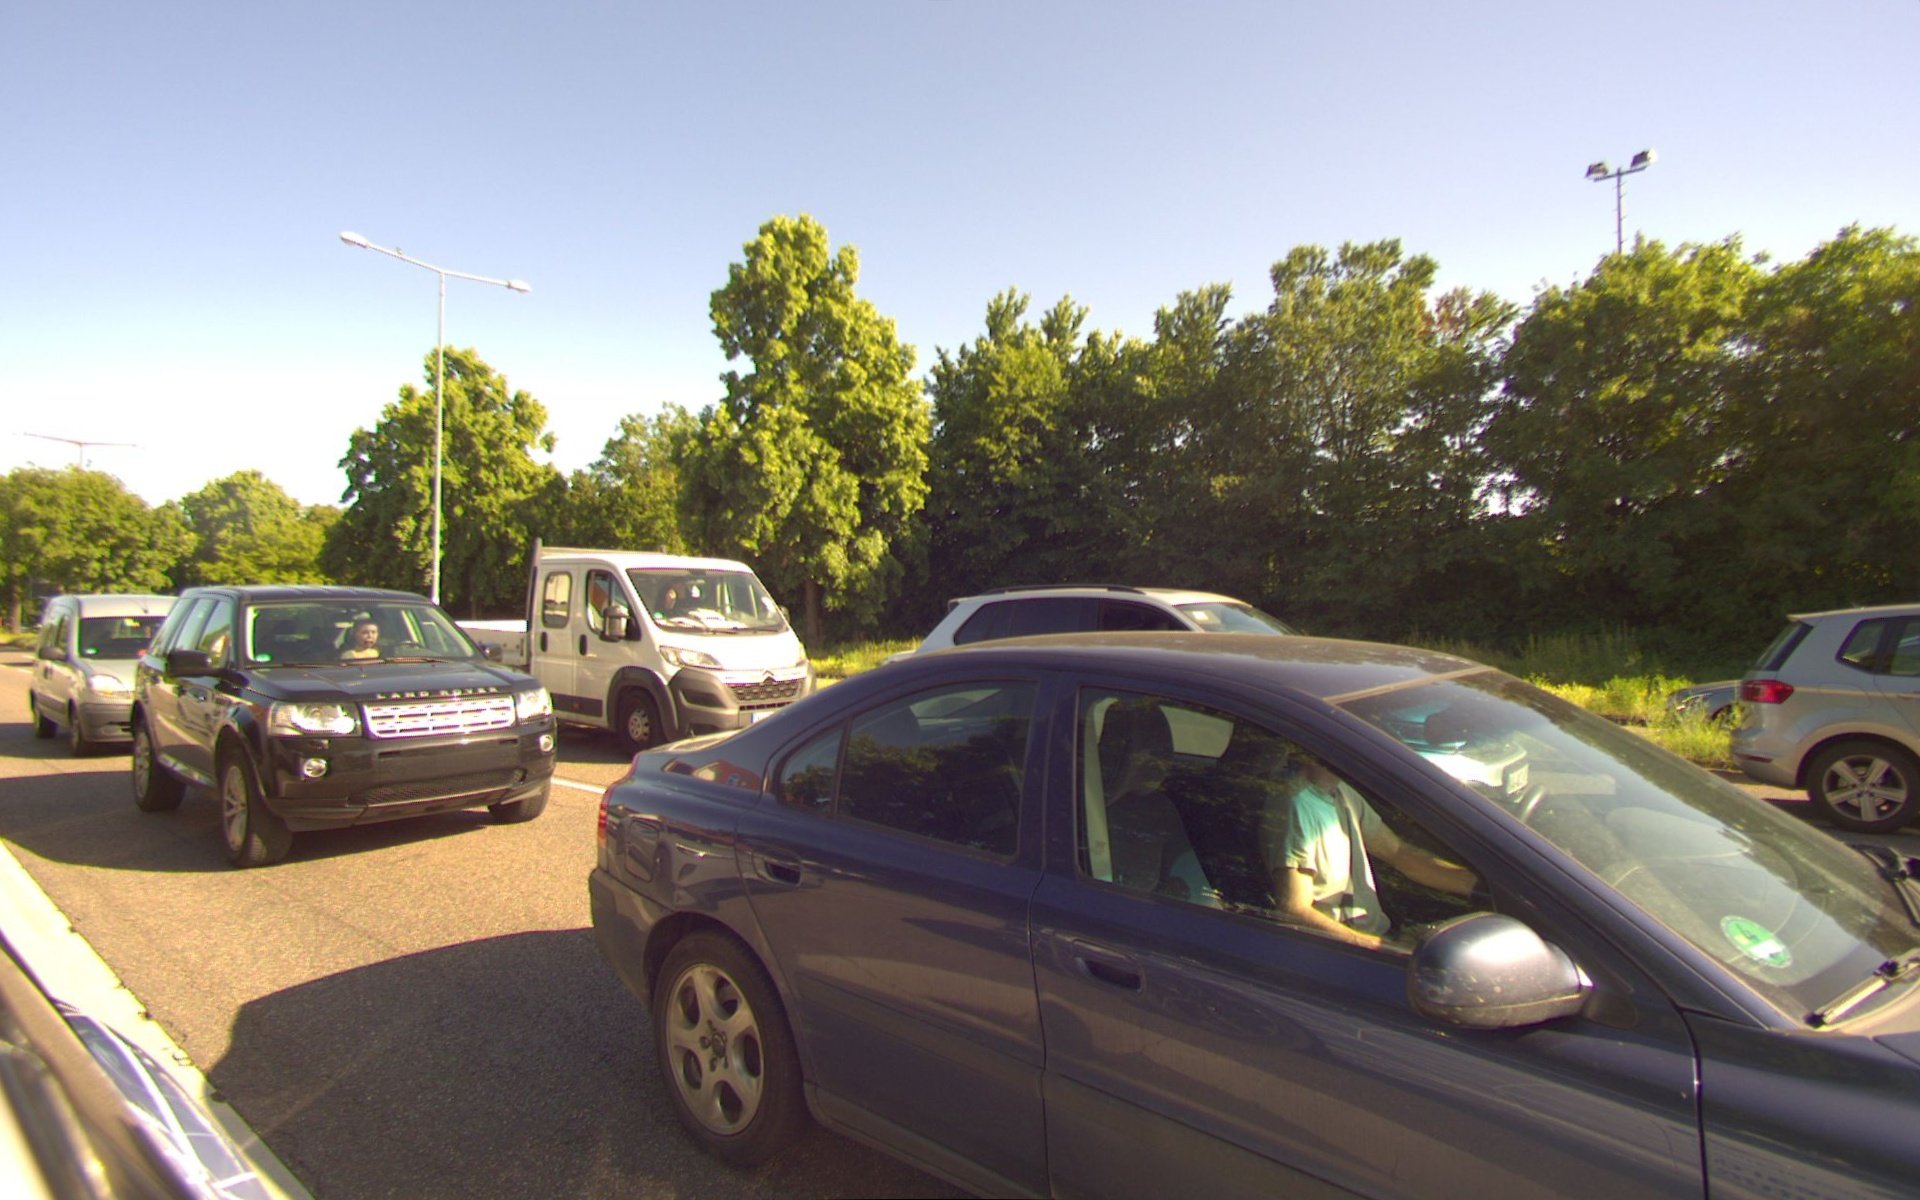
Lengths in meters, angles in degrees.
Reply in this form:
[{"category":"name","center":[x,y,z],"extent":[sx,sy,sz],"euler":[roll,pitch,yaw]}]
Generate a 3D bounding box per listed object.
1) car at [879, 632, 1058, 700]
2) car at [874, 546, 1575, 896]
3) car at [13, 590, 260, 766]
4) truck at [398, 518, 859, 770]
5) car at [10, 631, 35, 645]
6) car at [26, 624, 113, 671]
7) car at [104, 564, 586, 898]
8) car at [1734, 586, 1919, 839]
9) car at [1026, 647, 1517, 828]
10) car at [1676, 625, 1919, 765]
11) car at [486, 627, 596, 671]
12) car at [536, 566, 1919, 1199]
[{"category":"car","center":[0.141,1.505,23.920],"extent":[4.219,1.467,1.624],"euler":[-2,-3,41]},{"category":"car","center":[1.632,0.672,7.211],"extent":[4.422,1.723,1.973],"euler":[-2,-3,41]},{"category":"car","center":[-10.044,0.801,12.219],"extent":[4.384,1.765,1.611],"euler":[-1,-1,41]},{"category":"truck","center":[-4.394,0.442,12.444],"extent":[6.838,2.337,2.158],"euler":[-1,-1,40]},{"category":"car","center":[-120.452,4.883,130.034],"extent":[3.998,1.697,1.854],"euler":[-2,-3,41]},{"category":"car","center":[-30.114,1.579,34.177],"extent":[3.929,1.486,1.682],"euler":[-2,-2,41]},{"category":"car","center":[-4.688,0.707,7.417],"extent":[4.384,1.744,1.793],"euler":[-1,-1,41]},{"category":"car","center":[7.638,0.723,6.409],"extent":[4.206,1.623,1.810],"euler":[-2,-3,42]},{"category":"car","center":[3.038,1.232,10.535],"extent":[4.550,1.440,1.811],"euler":[-2,-3,41]},{"category":"car","center":[10.685,1.009,10.977],"extent":[4.613,1.444,1.668],"euler":[-2,-3,41]},{"category":"car","center":[-15.697,1.812,37.807],"extent":[4.498,1.536,1.870],"euler":[-1,-3,39]},{"category":"car","center":[0.899,0.696,2.421],"extent":[4.454,1.463,1.757],"euler":[-1,0,41]}]
